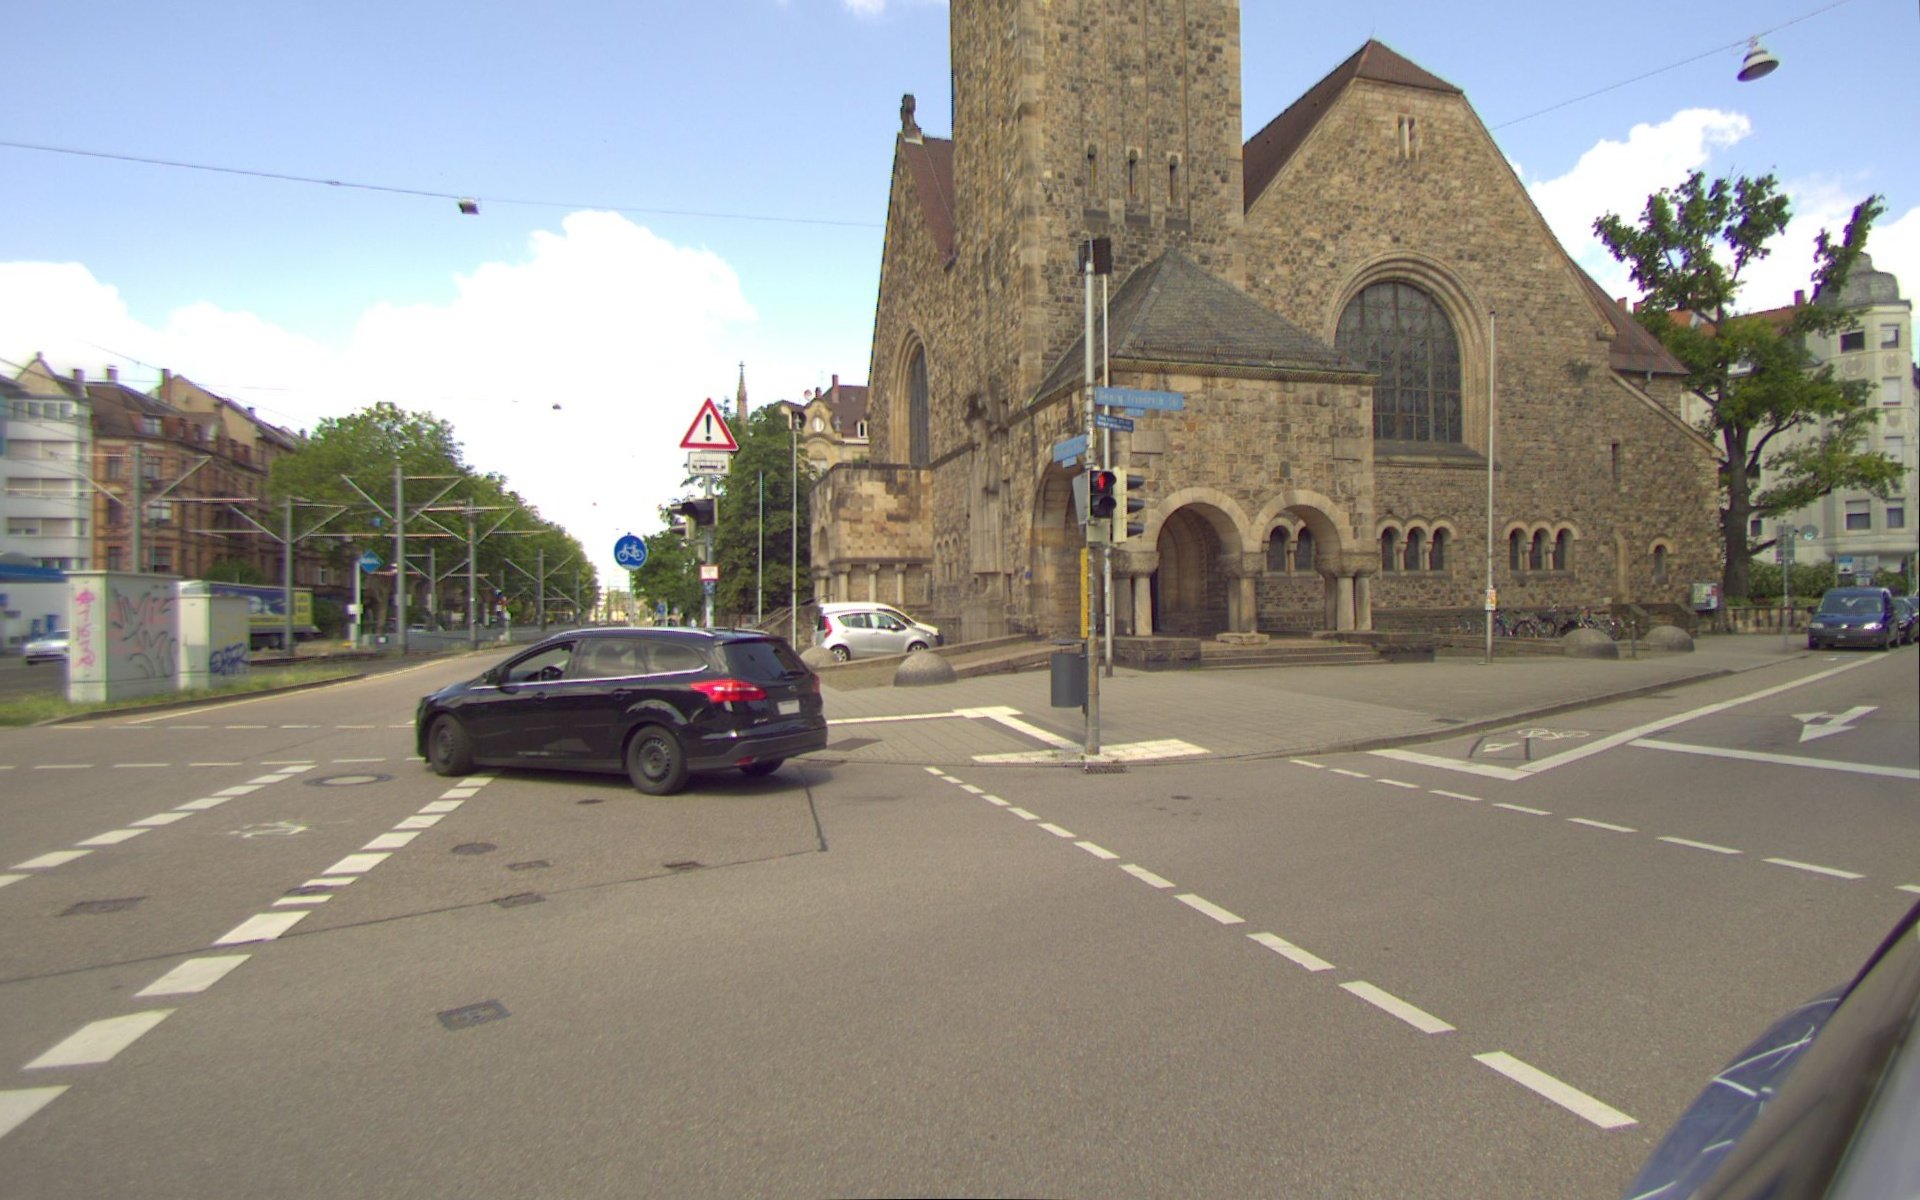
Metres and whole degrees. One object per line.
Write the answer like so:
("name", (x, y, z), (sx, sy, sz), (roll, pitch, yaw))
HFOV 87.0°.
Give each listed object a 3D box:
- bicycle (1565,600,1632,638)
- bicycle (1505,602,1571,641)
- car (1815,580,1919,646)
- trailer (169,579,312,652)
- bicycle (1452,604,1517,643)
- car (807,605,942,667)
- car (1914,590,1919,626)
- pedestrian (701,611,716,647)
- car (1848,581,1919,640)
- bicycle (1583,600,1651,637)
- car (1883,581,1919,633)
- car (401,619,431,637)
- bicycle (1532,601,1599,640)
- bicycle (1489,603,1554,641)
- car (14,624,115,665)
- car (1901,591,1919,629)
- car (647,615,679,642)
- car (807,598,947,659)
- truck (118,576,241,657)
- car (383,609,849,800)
("bicycle", (21.099, 0.619, 33.493), (0.574, 1.126, 1.944), (-1, 2, -19))
("bicycle", (18.703, 0.676, 32.786), (0.574, 1.126, 1.944), (-1, 2, -19))
("car", (26.536, 0.357, 29.559), (4.072, 1.814, 1.681), (0, -1, -40))
("trailer", (-45.106, 0.939, 64.000), (2.857, 4.129, 11.670), (-1, 0, -12))
("bicycle", (16.585, 0.725, 32.041), (0.574, 1.126, 1.944), (-1, 2, -19))
("car", (-2.498, 1.050, 29.328), (3.561, 1.701, 1.822), (1, -3, -19))
("car", (42.471, 0.308, 43.481), (3.821, 1.515, 1.681), (0, -1, -40))
("pedestrian", (-11.857, 1.352, 47.727), (0.645, 1.686, 0.847), (-1, -1, -14))
("car", (30.439, 0.326, 32.940), (3.929, 1.814, 1.681), (0, -1, -40))
("bicycle", (21.857, 0.602, 33.707), (0.574, 1.126, 1.944), (-1, 2, -19))
("car", (35.124, 0.237, 36.881), (3.929, 1.814, 1.681), (0, -1, -40))
("car", (-55.263, 2.813, 102.900), (1.766, 1.651, 4.007), (-1, 0, -15))
("bicycle", (19.674, 0.653, 32.951), (0.574, 1.126, 1.944), (-1, 2, -19))
("bicycle", (18.035, 0.691, 32.569), (0.574, 1.126, 1.944), (-1, 2, -19))
("car", (-41.035, 1.982, 46.516), (1.815, 1.727, 4.142), (-1, -1, -15))
("car", (38.699, 0.377, 40.027), (3.730, 1.465, 1.681), (0, -1, -40))
("car", (-17.890, 1.714, 61.037), (1.752, 1.514, 3.844), (-1, -1, -16))
("car", (-2.721, 0.927, 32.886), (4.214, 1.878, 2.003), (0, -3, -16))
("truck", (-43.582, 0.897, 56.755), (2.857, 4.202, 6.602), (-1, 0, -12))
("car", (-3.409, 0.924, 10.004), (4.337, 1.555, 1.770), (-1, -2, 24))
